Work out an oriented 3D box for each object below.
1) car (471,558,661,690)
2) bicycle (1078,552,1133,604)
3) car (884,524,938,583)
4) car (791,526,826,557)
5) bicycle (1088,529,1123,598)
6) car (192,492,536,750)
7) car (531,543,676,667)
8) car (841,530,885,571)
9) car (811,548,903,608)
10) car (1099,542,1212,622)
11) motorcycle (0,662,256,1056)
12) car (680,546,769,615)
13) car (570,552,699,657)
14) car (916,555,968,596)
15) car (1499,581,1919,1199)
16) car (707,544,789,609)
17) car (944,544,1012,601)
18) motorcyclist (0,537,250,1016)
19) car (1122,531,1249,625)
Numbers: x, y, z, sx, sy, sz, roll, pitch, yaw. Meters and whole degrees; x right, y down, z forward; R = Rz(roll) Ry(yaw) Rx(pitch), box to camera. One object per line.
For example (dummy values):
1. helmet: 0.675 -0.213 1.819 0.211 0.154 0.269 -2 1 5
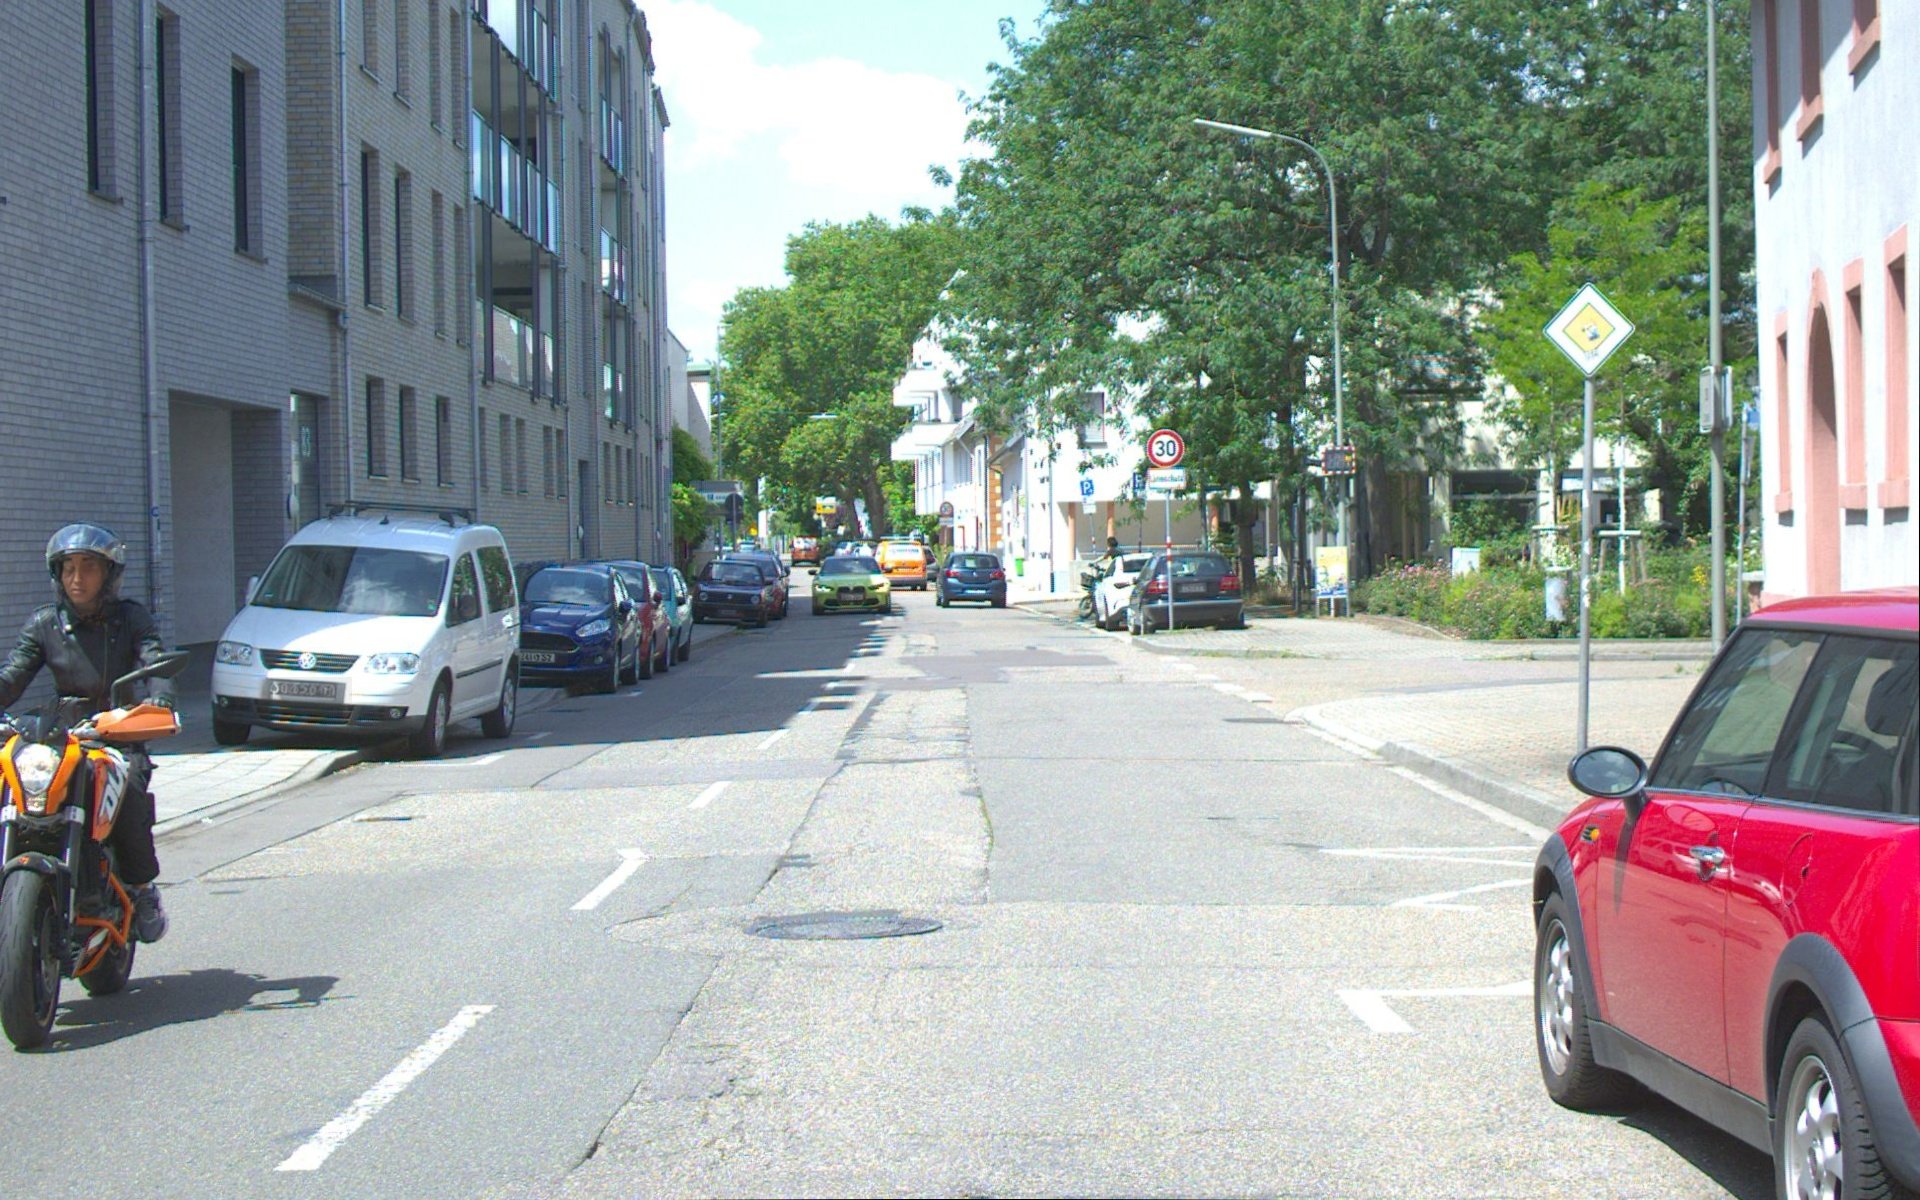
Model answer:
1. car: -4.580 0.239 40.411 1.723 1.451 4.005 0 1 1
2. bicycle: 3.154 -0.479 74.570 0.483 1.111 1.195 -2 1 -40
3. car: -1.718 -1.674 122.185 1.839 2.007 4.000 -1 2 0
4. car: -10.125 -3.912 229.907 2.156 2.007 4.000 -1 1 -1
5. bicycle: 3.157 -0.783 74.553 0.477 1.485 0.576 -2 1 -39
6. car: -4.712 0.107 27.785 1.757 1.885 4.336 1 1 3
7. car: -4.669 0.032 45.414 1.590 1.548 3.571 -1 1 -1
8. car: -4.044 -2.067 142.818 1.711 1.628 3.704 -1 1 -2
9. car: -2.470 -0.553 83.740 1.993 1.376 4.392 1 1 1
10. car: 3.663 -0.359 64.900 1.779 1.415 4.000 -1 1 -1
11. motorcycle: -2.932 0.813 11.501 0.688 1.118 2.028 -1 1 1
12. car: -5.146 -0.442 75.575 1.732 1.437 4.000 -1 1 -1
13. car: -4.710 0.035 50.110 1.590 1.451 3.704 1 1 -1
14. car: -0.761 -1.012 140.848 1.993 1.612 4.000 -1 1 -2
15. car: 2.396 0.678 7.909 1.618 1.381 3.539 -1 1 -2
16. car: -4.946 -0.569 80.587 1.732 1.437 4.000 -1 1 -1
17. car: 0.457 -0.741 90.484 1.715 1.397 4.000 -1 2 0
18. motorcyclist: -2.906 0.554 11.423 0.822 1.504 1.057 -1 1 1
19. car: 3.773 -0.389 58.110 1.692 1.415 4.000 -4 1 -1
